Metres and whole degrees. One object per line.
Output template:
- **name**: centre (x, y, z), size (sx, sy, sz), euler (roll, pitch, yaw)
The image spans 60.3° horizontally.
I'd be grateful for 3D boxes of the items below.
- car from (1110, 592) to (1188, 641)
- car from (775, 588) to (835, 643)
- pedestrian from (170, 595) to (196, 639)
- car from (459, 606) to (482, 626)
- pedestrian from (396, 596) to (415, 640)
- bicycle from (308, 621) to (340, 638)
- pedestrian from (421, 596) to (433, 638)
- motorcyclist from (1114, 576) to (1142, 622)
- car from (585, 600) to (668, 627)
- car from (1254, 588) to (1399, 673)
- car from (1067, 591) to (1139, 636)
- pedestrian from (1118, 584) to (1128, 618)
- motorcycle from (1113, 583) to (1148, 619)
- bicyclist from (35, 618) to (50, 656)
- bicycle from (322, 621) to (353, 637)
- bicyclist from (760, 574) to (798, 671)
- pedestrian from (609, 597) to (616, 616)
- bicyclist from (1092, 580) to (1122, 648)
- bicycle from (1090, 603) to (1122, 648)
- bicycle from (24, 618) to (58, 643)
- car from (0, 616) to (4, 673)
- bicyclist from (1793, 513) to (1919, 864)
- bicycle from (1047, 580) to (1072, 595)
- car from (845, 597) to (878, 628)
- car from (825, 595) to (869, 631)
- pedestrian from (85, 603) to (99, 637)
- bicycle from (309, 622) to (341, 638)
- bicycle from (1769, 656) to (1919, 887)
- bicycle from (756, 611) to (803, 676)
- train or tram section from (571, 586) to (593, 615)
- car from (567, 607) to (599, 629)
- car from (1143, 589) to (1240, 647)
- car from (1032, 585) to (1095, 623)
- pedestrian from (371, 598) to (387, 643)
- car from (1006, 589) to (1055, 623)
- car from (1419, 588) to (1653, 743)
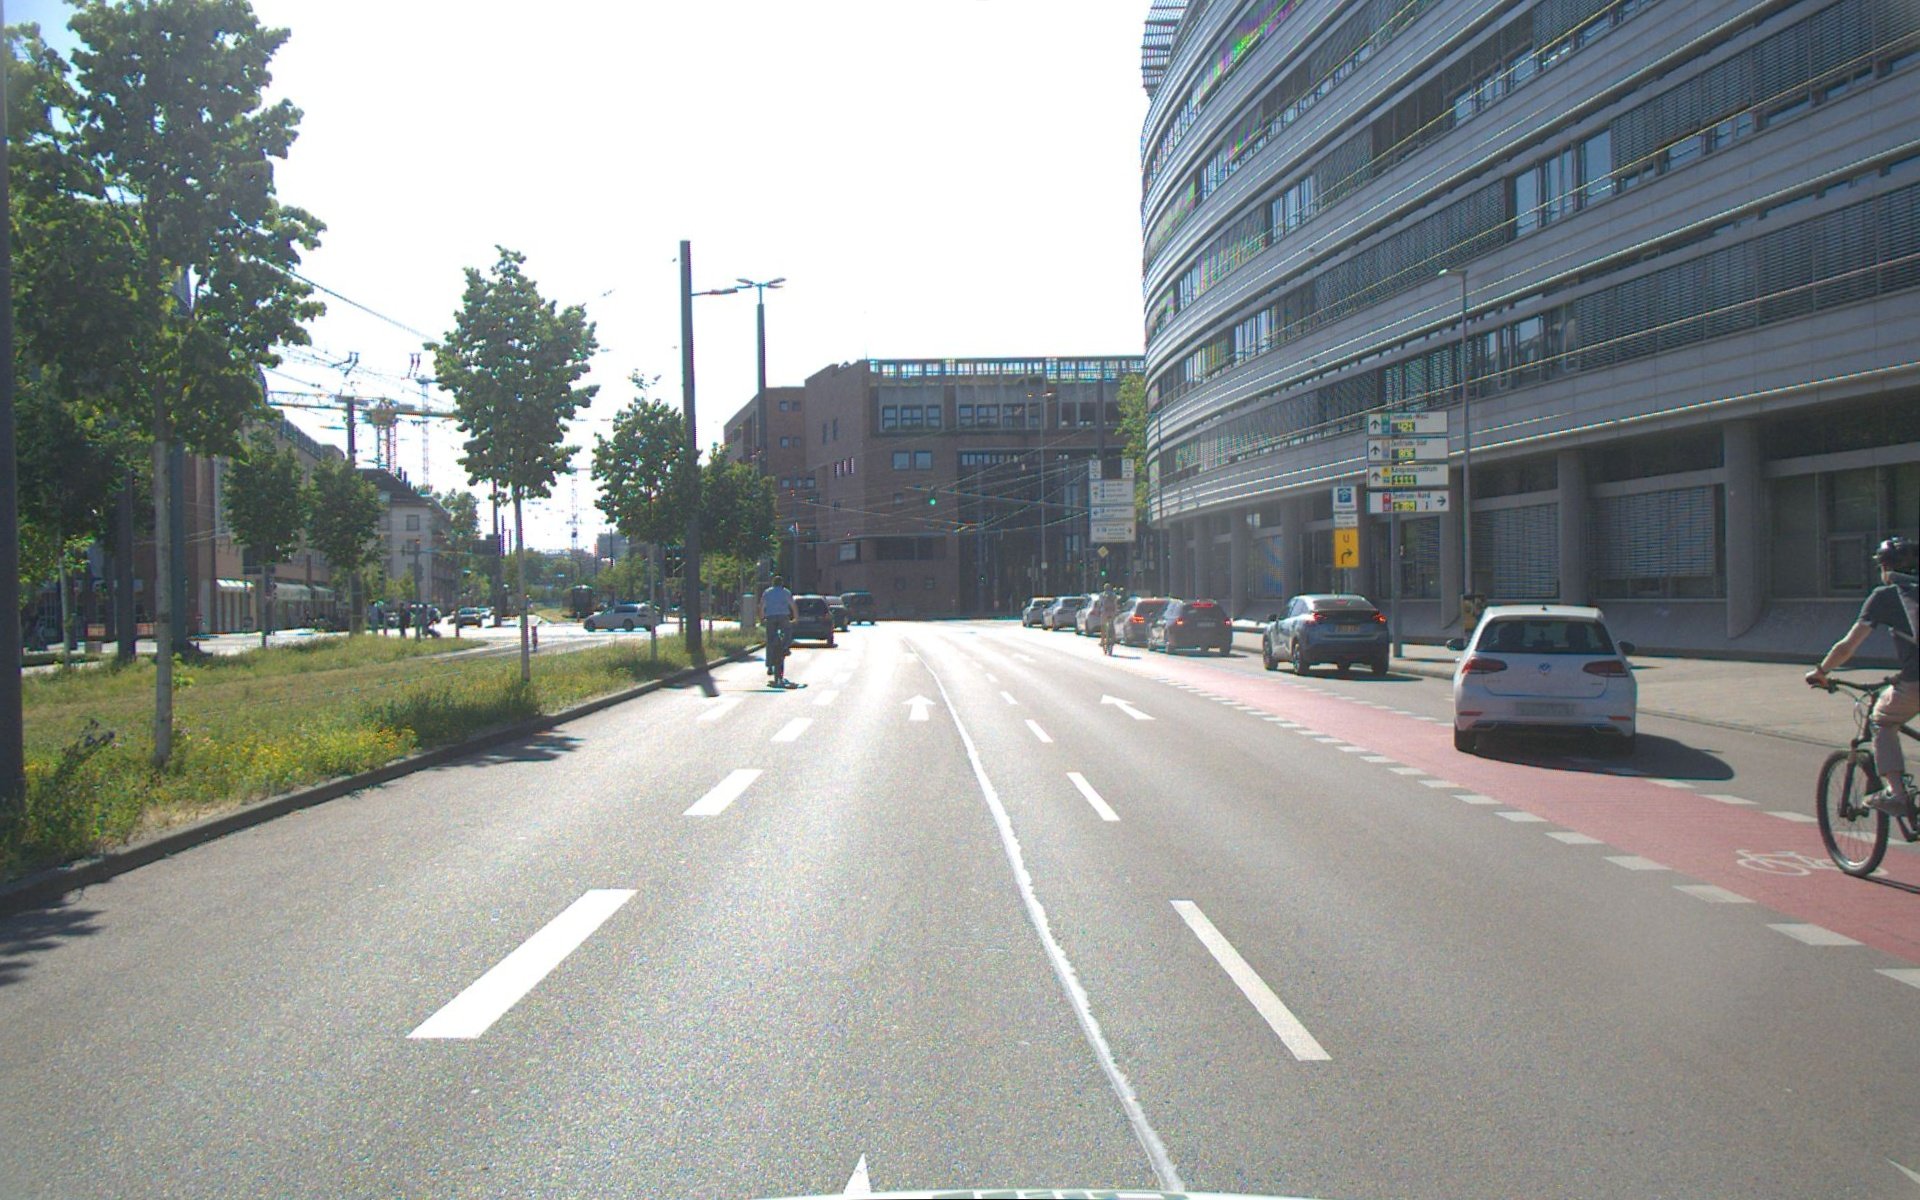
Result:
- **car**: centre (5.923, 0.492, 52.346), size (1.687, 1.420, 4.785), euler (-1, 0, -3)
- **car**: centre (-4.789, 0.455, 51.516), size (1.692, 1.591, 3.675), euler (-2, 0, -4)
- **pedestrian**: centre (-33.158, 0.726, 70.578), size (0.745, 1.863, 0.625), euler (-1, 0, 5)
- **car**: centre (-39.289, 1.276, 132.715), size (1.584, 1.422, 3.903), euler (-5, 2, -15)
- **pedestrian**: centre (-23.973, 0.776, 71.519), size (0.577, 1.863, 0.490), euler (-2, 0, -42)
- **bicycle**: centre (-56.075, 2.596, 145.818), size (2.437, 1.333, 0.732), euler (-2, 0, -6)
- **pedestrian**: centre (-23.857, 0.766, 74.008), size (0.382, 1.863, 0.458), euler (-2, 0, -35)
- **motorcyclist**: centre (5.831, -0.042, 57.512), size (0.812, 1.588, 0.941), euler (0, 0, -4)
- **car**: centre (-18.834, 0.765, 93.416), size (4.314, 1.405, 2.064), euler (-2, 0, 29)
- **car**: centre (7.202, 0.548, 32.932), size (1.687, 1.551, 4.396), euler (-1, 0, -3)
- **car**: centre (5.415, 0.498, 63.010), size (1.870, 1.611, 4.131), euler (0, 1, -8)
- **pedestrian**: centre (8.325, 0.041, 84.555), size (0.418, 1.674, 0.562), euler (-3, 1, 7)
- **motorcycle**: centre (5.874, 0.038, 57.224), size (0.812, 1.222, 2.388), euler (0, 0, -4)
- **bicyclist**: centre (-34.642, 1.388, 62.445), size (0.334, 1.401, 0.481), euler (-1, -1, -5)
- **bicycle**: centre (-55.546, 2.576, 147.543), size (2.437, 1.333, 0.732), euler (-2, 0, -6)
- **bicyclist**: centre (-3.222, 0.388, 29.553), size (0.605, 1.699, 1.019), euler (0, 0, -3)
- **pedestrian**: centre (-32.661, 0.608, 155.595), size (0.530, 1.684, 0.703), euler (-2, 0, -18)
- **bicyclist**: centre (3.920, 0.359, 44.113), size (0.636, 1.783, 1.045), euler (-1, 1, -1)
- **bicycle**: centre (3.916, 0.674, 44.449), size (0.636, 1.129, 1.758), euler (-1, 1, -1)
- **bicycle**: centre (-34.639, 1.149, 62.369), size (0.346, 0.942, 1.893), euler (-1, -1, -4)
- **car**: centre (-24.214, 1.115, 39.027), size (1.399, 1.383, 3.295), euler (-1, 0, -1)
- **bicyclist**: centre (4.988, 0.431, 8.618), size (0.790, 1.722, 1.051), euler (0, 0, 2)
- **bicycle**: centre (7.290, -0.935, 121.178), size (1.646, 1.012, 0.668), euler (-2, 0, -23)
- **car**: centre (-5.861, 0.736, 97.823), size (1.748, 1.732, 4.133), euler (0, 1, -6)
- **car**: centre (-4.979, 0.555, 72.502), size (1.693, 1.474, 4.515), euler (-2, 0, -6)
- **pedestrian**: centre (-52.010, 1.194, 99.110), size (0.514, 1.966, 0.748), euler (-2, 0, -16)
- **bicycle**: centre (-55.538, 2.589, 144.700), size (2.437, 1.333, 0.732), euler (-2, 0, -6)
- **bicycle**: centre (5.095, 0.862, 8.706), size (0.808, 1.055, 1.892), euler (0, 0, 2)
- **bicycle**: centre (-3.228, 0.756, 29.724), size (0.673, 1.088, 2.696), euler (0, 0, -3)
- **train or tram section**: centre (-41.457, 0.049, 181.540), size (2.286, 3.055, 13.117), euler (-1, 0, -13)
- **car**: centre (-32.566, 1.557, 142.847), size (2.228, 1.757, 3.923), euler (-2, 0, -19)
- **car**: centre (6.316, 0.457, 45.660), size (1.688, 1.447, 4.633), euler (-2, 0, -4)
- **car**: centre (4.420, 0.151, 71.418), size (1.871, 1.568, 4.130), euler (0, 1, -9)
- **pedestrian**: centre (-24.688, 0.869, 70.295), size (0.457, 1.863, 0.452), euler (-2, 0, -42)
- **car**: centre (3.490, 0.290, 82.386), size (1.869, 1.611, 4.133), euler (0, 1, -6)
- **car**: centre (6.032, 0.606, 17.785), size (1.735, 1.427, 4.297), euler (1, 0, 11)
